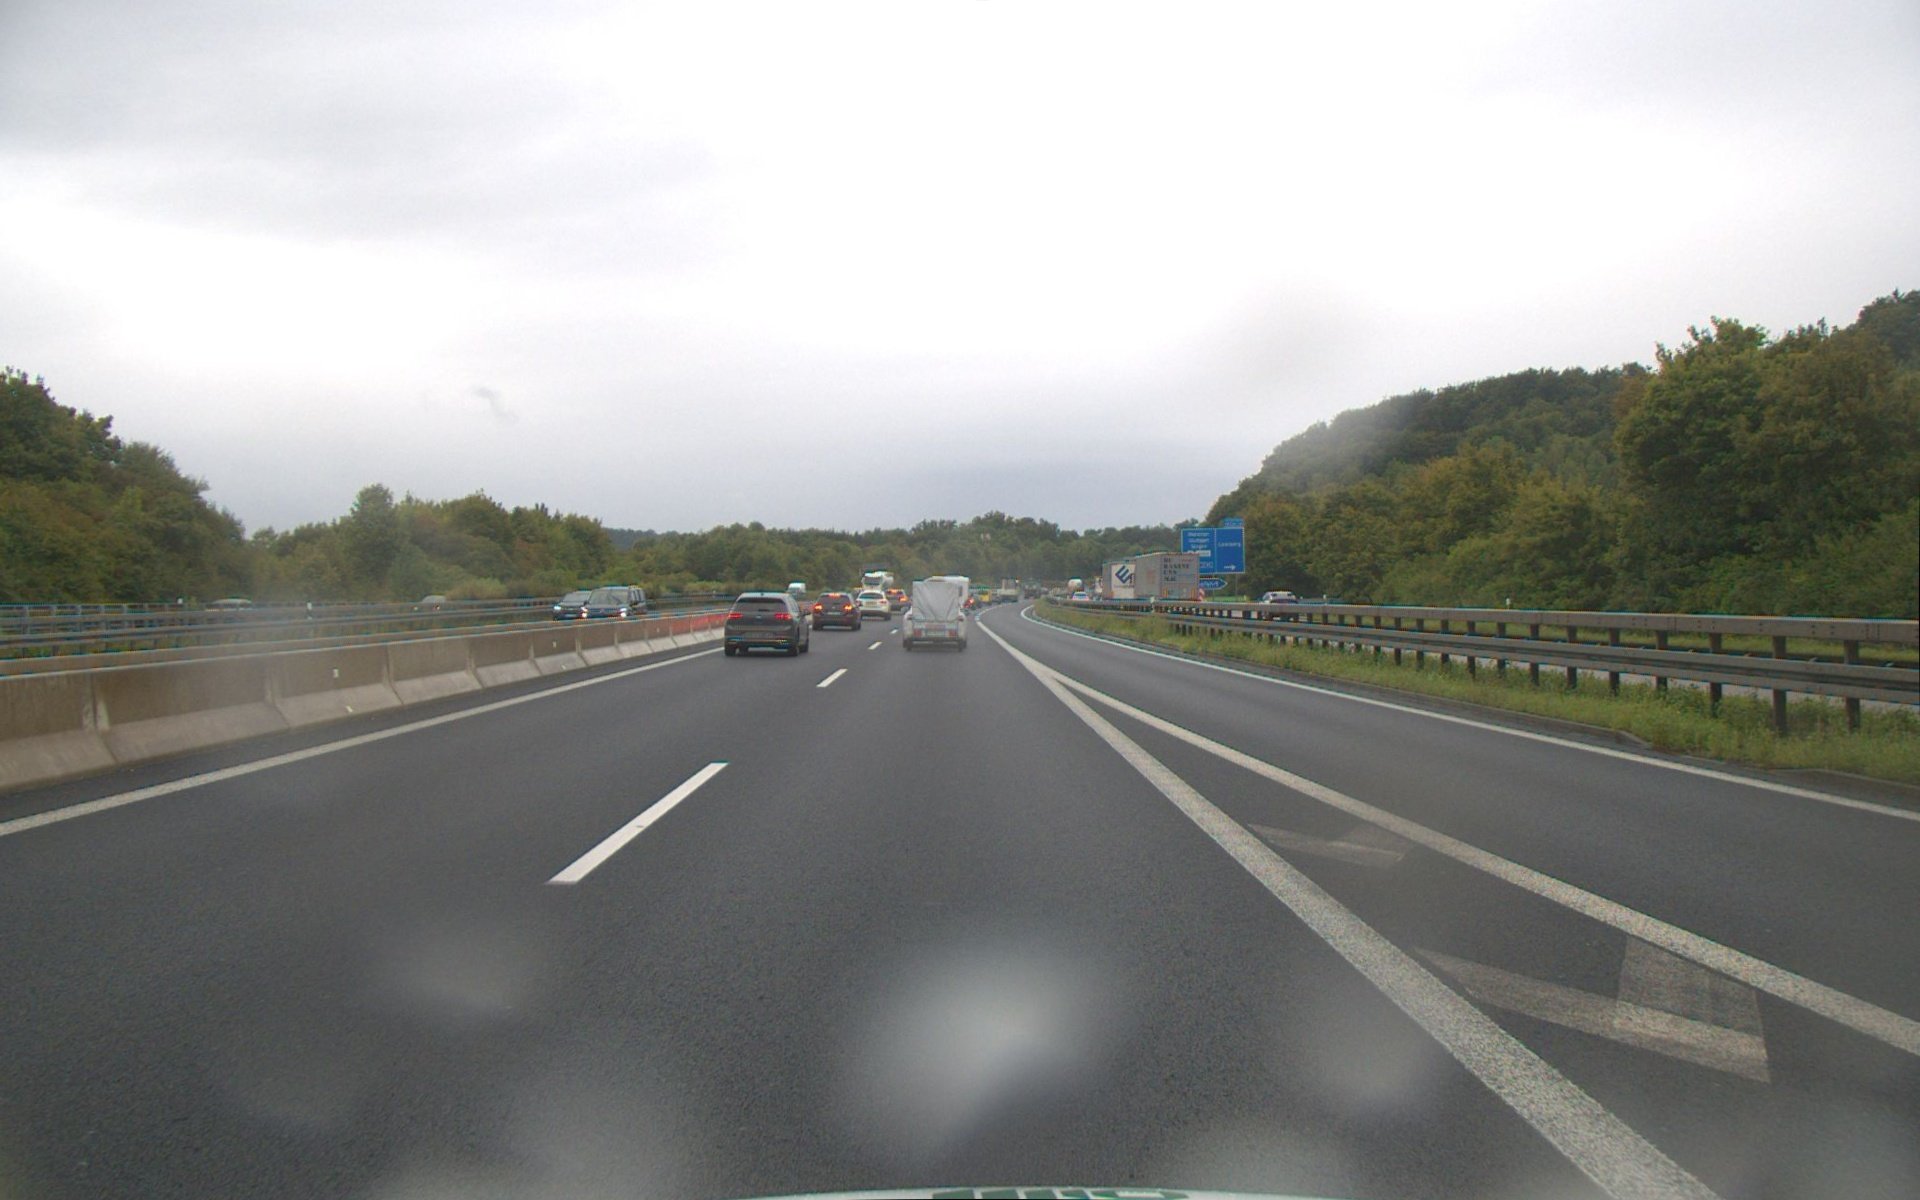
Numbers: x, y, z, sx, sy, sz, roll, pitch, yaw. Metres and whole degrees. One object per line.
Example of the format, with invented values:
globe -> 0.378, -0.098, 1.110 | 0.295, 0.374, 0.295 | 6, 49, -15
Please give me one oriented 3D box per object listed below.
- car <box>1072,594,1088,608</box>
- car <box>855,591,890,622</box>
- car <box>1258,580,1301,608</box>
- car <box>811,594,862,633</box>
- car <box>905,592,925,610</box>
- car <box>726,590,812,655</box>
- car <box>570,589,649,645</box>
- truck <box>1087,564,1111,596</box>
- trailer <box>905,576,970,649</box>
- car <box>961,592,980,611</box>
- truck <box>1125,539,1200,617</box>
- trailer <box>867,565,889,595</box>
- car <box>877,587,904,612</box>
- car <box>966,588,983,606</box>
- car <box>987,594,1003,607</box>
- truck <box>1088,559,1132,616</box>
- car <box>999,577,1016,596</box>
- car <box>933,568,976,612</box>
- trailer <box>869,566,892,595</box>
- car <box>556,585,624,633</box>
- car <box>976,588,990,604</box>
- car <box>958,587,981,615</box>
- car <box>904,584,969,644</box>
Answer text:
car -> 12.906, 0.100, 177.973 | 1.640, 1.481, 4.002 | 1, 0, 5
car -> -4.807, 0.358, 91.564 | 1.739, 1.669, 4.042 | 1, 0, -1
car -> 17.716, -0.319, 91.957 | 1.641, 1.481, 4.000 | 1, 0, 1
car -> -4.884, 0.516, 65.854 | 1.729, 1.481, 3.999 | 1, 0, -1
car -> -4.273, 0.065, 158.175 | 1.739, 1.669, 4.043 | 1, 0, 1
car -> -4.559, 0.521, 39.868 | 1.641, 1.481, 3.999 | 1, 0, -1
car -> -13.320, 0.628, 63.114 | 1.953, 2.049, 4.981 | 1, 0, -1
truck -> 21.118, -2.981, 251.927 | 3.586, 4.748, 13.039 | 1, 0, 4
trailer -> -0.639, 0.326, 44.679 | 1.642, 1.844, 3.999 | 1, 0, -2
car -> 0.994, 0.149, 157.207 | 1.641, 1.844, 4.001 | 1, 0, 2
truck -> 13.134, -1.350, 108.470 | 3.150, 4.748, 13.030 | 1, 0, 0
trailer -> -10.896, -2.625, 220.349 | 2.582, 3.780, 6.492 | 1, 0, 0
car -> -4.873, -0.025, 116.419 | 1.739, 1.669, 4.042 | 1, 0, -1
car -> 1.561, -0.268, 173.649 | 1.641, 1.844, 4.001 | 1, 0, 2
car -> 4.522, 0.106, 216.400 | 1.996, 1.712, 4.000 | 1, 0, 0
truck -> 13.306, -1.042, 147.425 | 3.148, 4.748, 13.036 | 1, 0, 2
car -> 6.977, -2.000, 243.303 | 2.463, 2.620, 5.313 | 1, 0, 2
car -> -0.285, -0.600, 102.601 | 2.455, 2.630, 5.700 | 1, 0, 2
trailer -> -10.853, -2.610, 226.236 | 2.582, 3.801, 10.811 | 1, 0, 0
car -> -16.434, 0.412, 73.748 | 1.953, 2.049, 4.981 | 1, 0, -1
car -> 2.821, -0.495, 202.340 | 1.641, 1.844, 4.001 | 1, 0, 2
car -> 0.752, 0.101, 128.399 | 1.641, 2.103, 4.001 | 1, 0, 3
car -> -0.668, 0.403, 48.483 | 1.781, 1.644, 4.777 | 1, 0, 0
